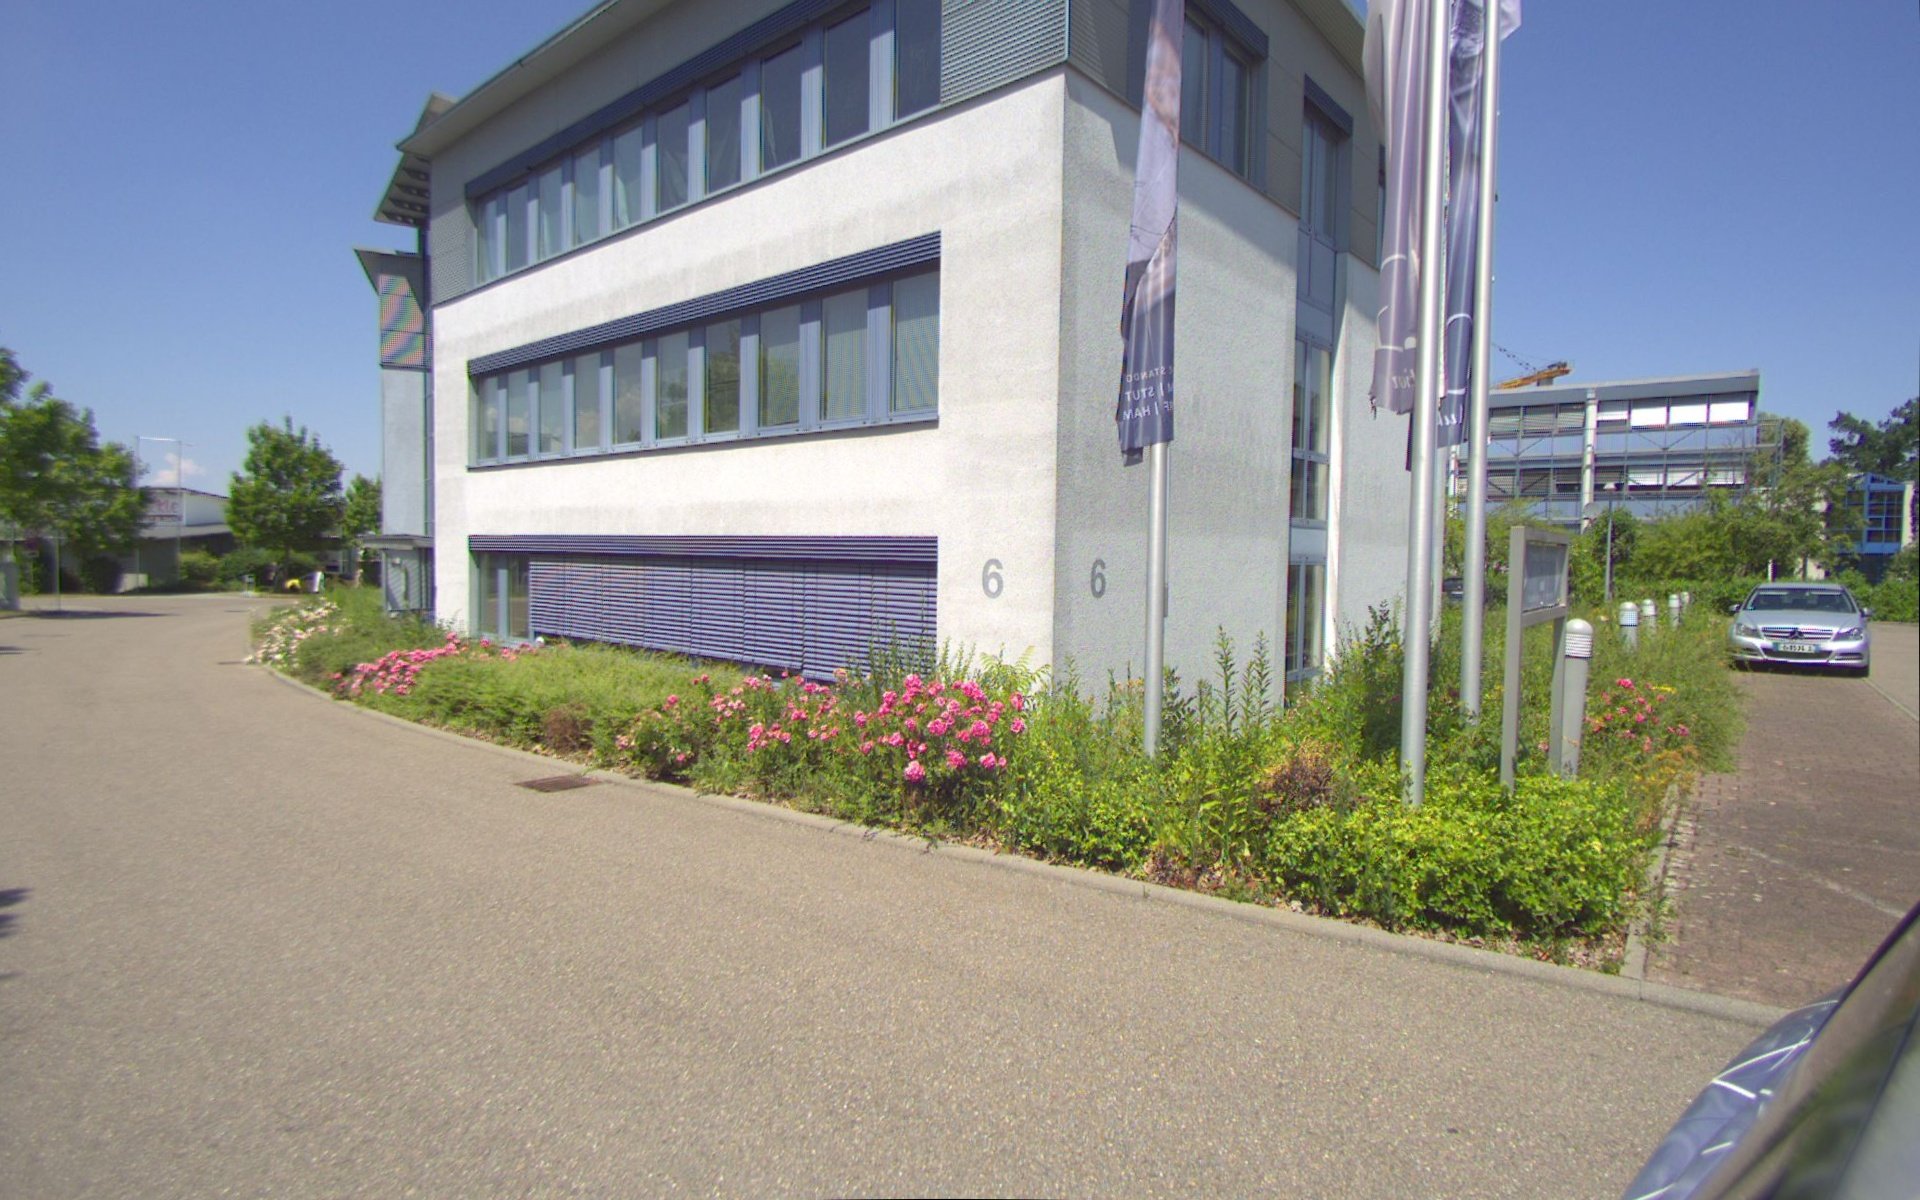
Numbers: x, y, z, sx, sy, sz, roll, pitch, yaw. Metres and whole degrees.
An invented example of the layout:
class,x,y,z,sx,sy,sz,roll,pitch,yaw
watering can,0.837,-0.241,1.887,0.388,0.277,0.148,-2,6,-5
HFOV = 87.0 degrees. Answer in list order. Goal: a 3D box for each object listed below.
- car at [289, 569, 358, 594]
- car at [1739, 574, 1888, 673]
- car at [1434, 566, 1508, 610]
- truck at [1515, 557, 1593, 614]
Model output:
class,x,y,z,sx,sy,sz,roll,pitch,yaw
car,-37.947,-1.126,60.396,3.156,1.460,1.589,0,1,2
car,14.230,0.295,16.861,1.706,1.408,3.754,2,3,41
car,19.452,-0.493,38.441,1.779,1.565,3.946,1,2,38
truck,21.241,-0.546,36.127,1.988,1.917,3.948,1,2,37
